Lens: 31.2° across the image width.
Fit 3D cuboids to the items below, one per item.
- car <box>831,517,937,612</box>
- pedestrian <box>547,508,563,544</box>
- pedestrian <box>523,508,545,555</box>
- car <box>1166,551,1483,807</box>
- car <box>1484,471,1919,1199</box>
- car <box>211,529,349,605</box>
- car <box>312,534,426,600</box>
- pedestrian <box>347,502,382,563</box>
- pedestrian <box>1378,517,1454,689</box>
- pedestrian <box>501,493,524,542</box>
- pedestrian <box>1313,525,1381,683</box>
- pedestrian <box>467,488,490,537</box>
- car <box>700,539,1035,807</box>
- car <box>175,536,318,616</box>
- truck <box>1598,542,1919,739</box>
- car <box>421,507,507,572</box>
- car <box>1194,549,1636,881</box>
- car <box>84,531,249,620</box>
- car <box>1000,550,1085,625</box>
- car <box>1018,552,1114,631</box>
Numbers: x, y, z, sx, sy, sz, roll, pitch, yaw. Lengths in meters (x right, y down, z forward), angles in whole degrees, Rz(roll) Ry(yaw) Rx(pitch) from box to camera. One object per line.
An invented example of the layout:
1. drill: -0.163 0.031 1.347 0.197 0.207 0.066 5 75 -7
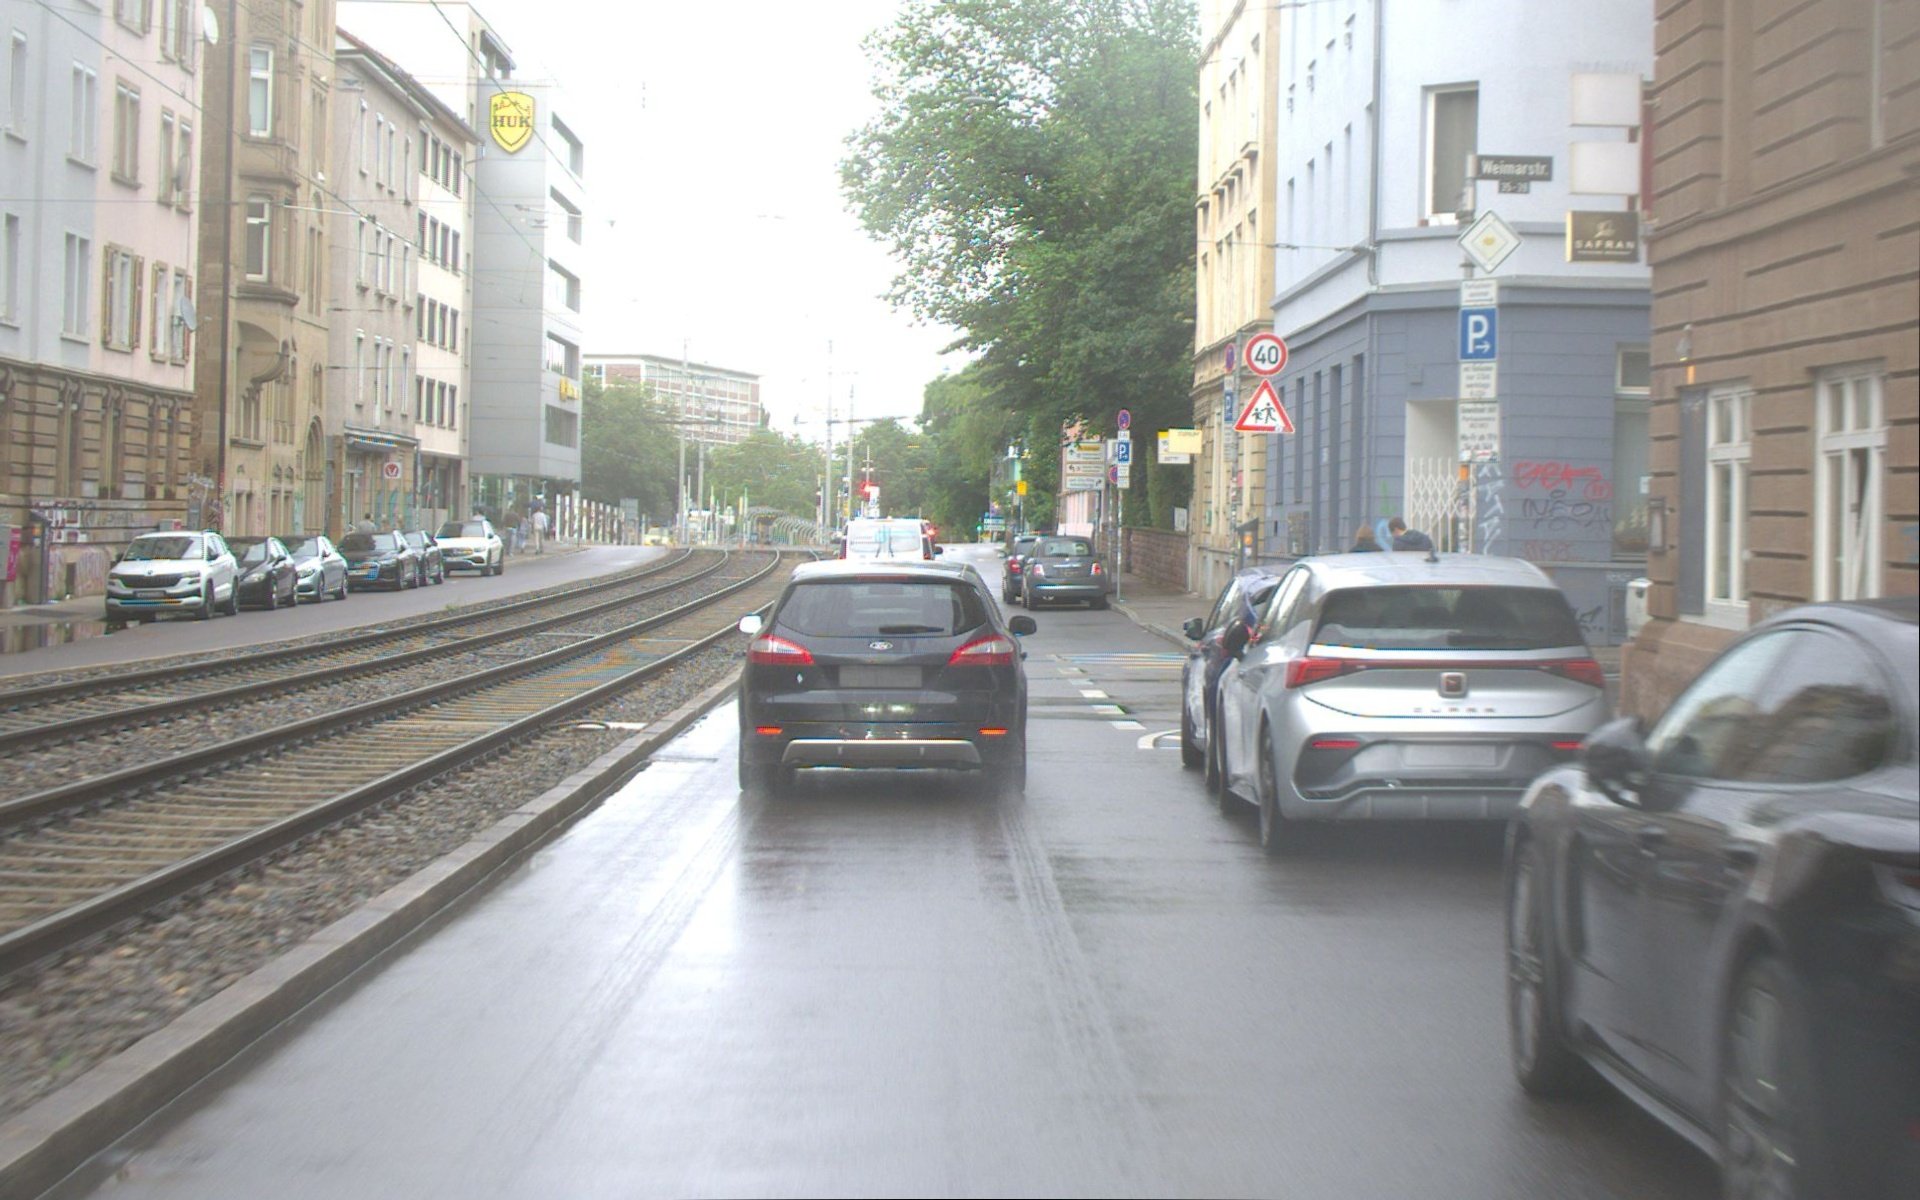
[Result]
1. car: -1.484 -0.689 68.349 1.993 1.810 4.271 1 0 0
2. pedestrian: -21.291 -3.901 180.557 0.744 1.847 0.839 1 0 -1
3. pedestrian: -16.978 -2.730 136.962 0.744 1.847 0.839 1 0 -1
4. car: 2.409 0.465 23.658 1.720 1.510 4.258 1 1 0
5. car: 2.538 0.595 7.765 1.993 1.588 4.572 1 0 0
6. car: -14.559 -0.720 73.841 1.993 1.514 4.992 2 1 -1
7. car: -14.451 -0.821 84.232 1.993 1.514 4.676 2 1 -1
8. pedestrian: -17.142 -1.940 98.949 0.801 1.744 0.984 2 1 -1
9. pedestrian: 5.435 0.025 41.015 0.736 2.007 0.821 1 1 -1
10. pedestrian: -17.034 -3.140 130.847 0.744 1.847 0.839 1 0 -1
11. pedestrian: 4.618 0.037 41.064 0.662 1.845 0.821 1 1 -1
12. pedestrian: -18.327 -3.321 130.764 0.744 1.847 0.839 1 0 -1
13. car: -0.559 0.435 22.787 1.993 1.588 4.271 1 0 0
14. car: -14.301 -0.499 69.136 1.993 1.514 4.209 2 1 -1
15. truck: 8.938 0.373 33.273 5.058 1.812 2.084 1 1 -3
16. car: -14.681 -1.788 102.032 1.993 1.833 5.071 2 1 -3
17. car: 2.356 0.528 18.861 1.746 1.518 4.355 1 1 -1
18. car: -14.424 -0.464 62.750 1.993 1.514 4.435 2 1 -1
19. car: 1.782 -0.301 75.305 1.642 1.510 4.039 1 1 -1
20. car: 2.154 -0.200 70.702 1.738 1.484 4.001 1 1 -1
